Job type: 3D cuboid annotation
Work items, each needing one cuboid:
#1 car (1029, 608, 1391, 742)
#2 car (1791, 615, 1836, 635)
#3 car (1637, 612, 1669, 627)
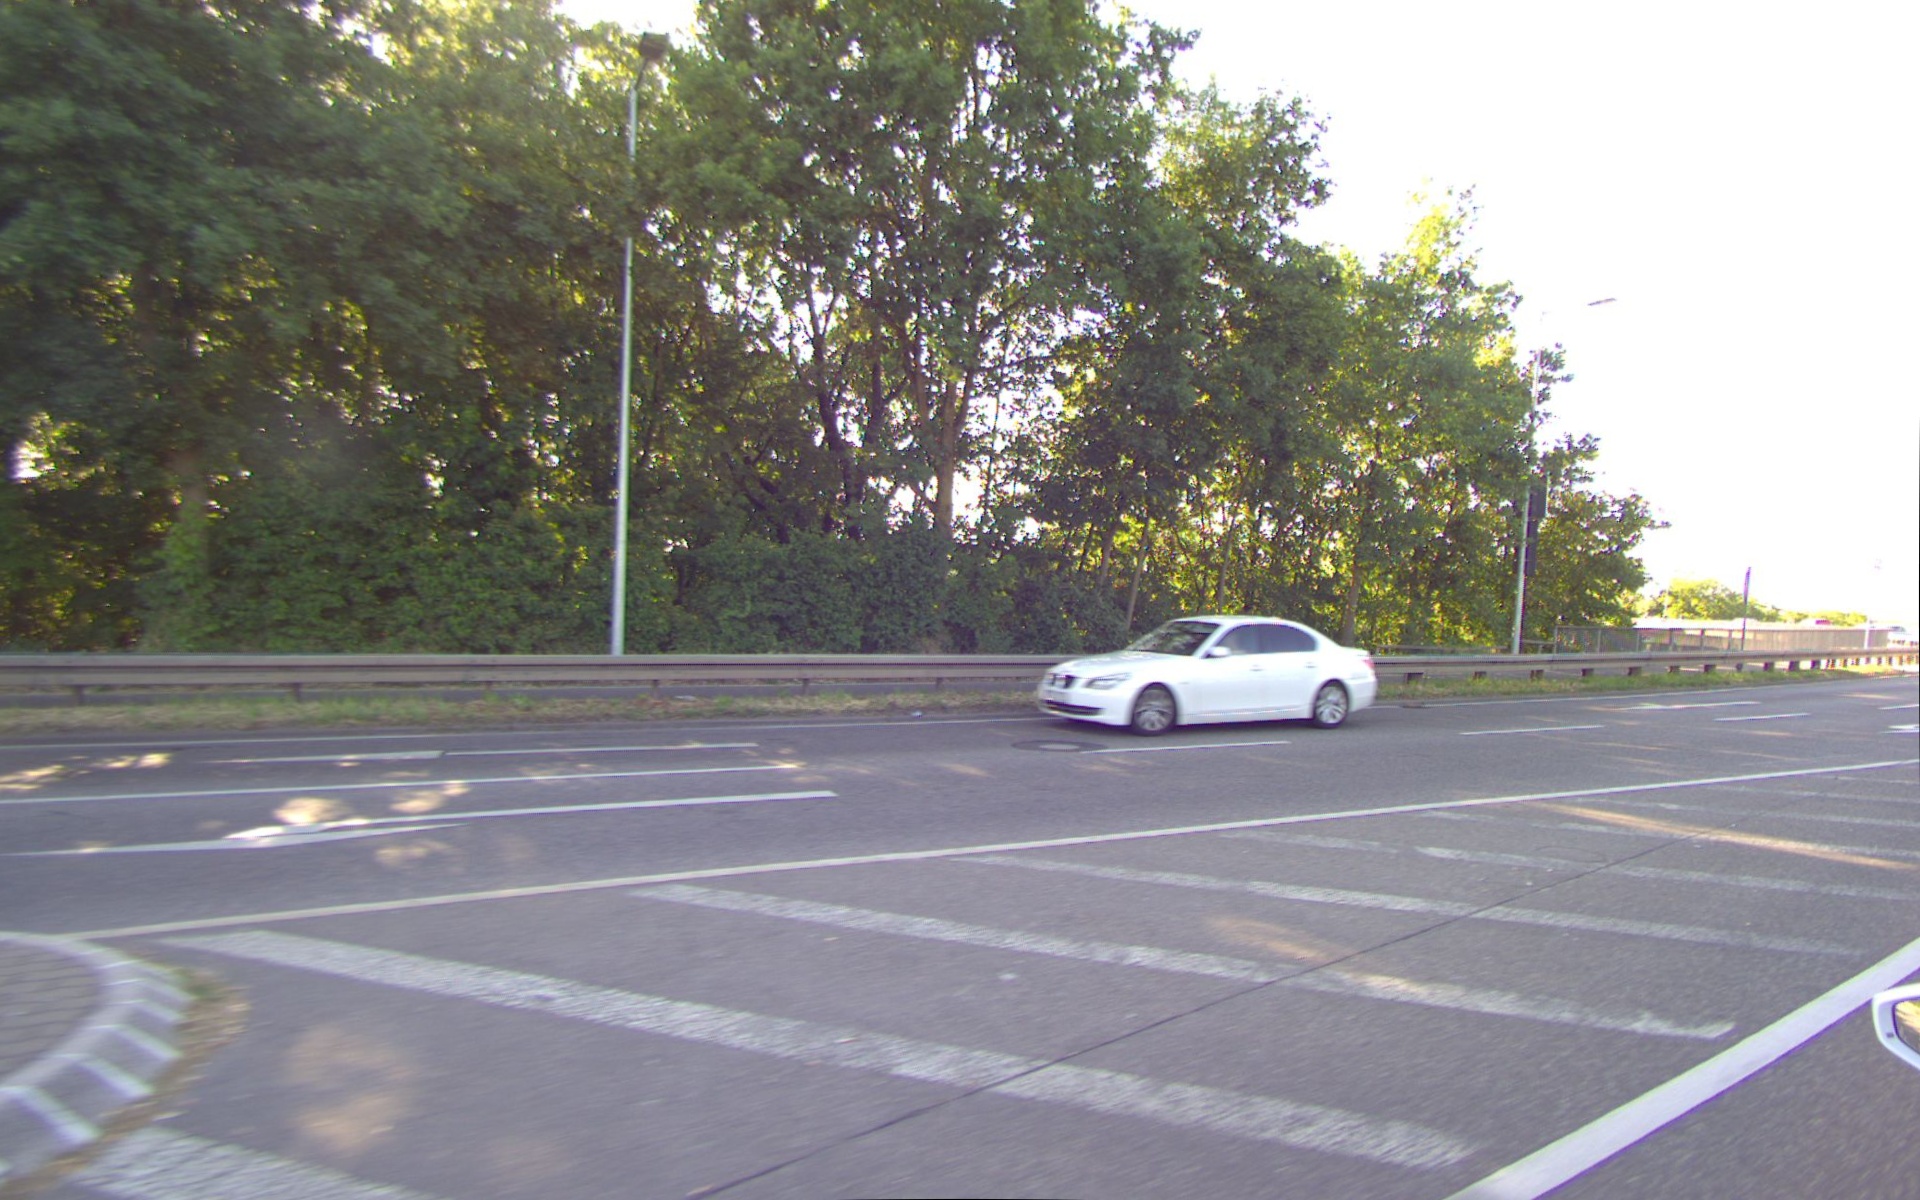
[{"bbox_3d":[3.365,0.918,13.379,4.568,1.507,1.841,1,0,-26],"label":"car"},{"bbox_3d":[88.073,2.534,103.702,1.923,1.976,4.002,1,0,14],"label":"car"},{"bbox_3d":[92.796,2.588,134.623,1.923,1.976,4.002,1,0,8],"label":"car"}]
